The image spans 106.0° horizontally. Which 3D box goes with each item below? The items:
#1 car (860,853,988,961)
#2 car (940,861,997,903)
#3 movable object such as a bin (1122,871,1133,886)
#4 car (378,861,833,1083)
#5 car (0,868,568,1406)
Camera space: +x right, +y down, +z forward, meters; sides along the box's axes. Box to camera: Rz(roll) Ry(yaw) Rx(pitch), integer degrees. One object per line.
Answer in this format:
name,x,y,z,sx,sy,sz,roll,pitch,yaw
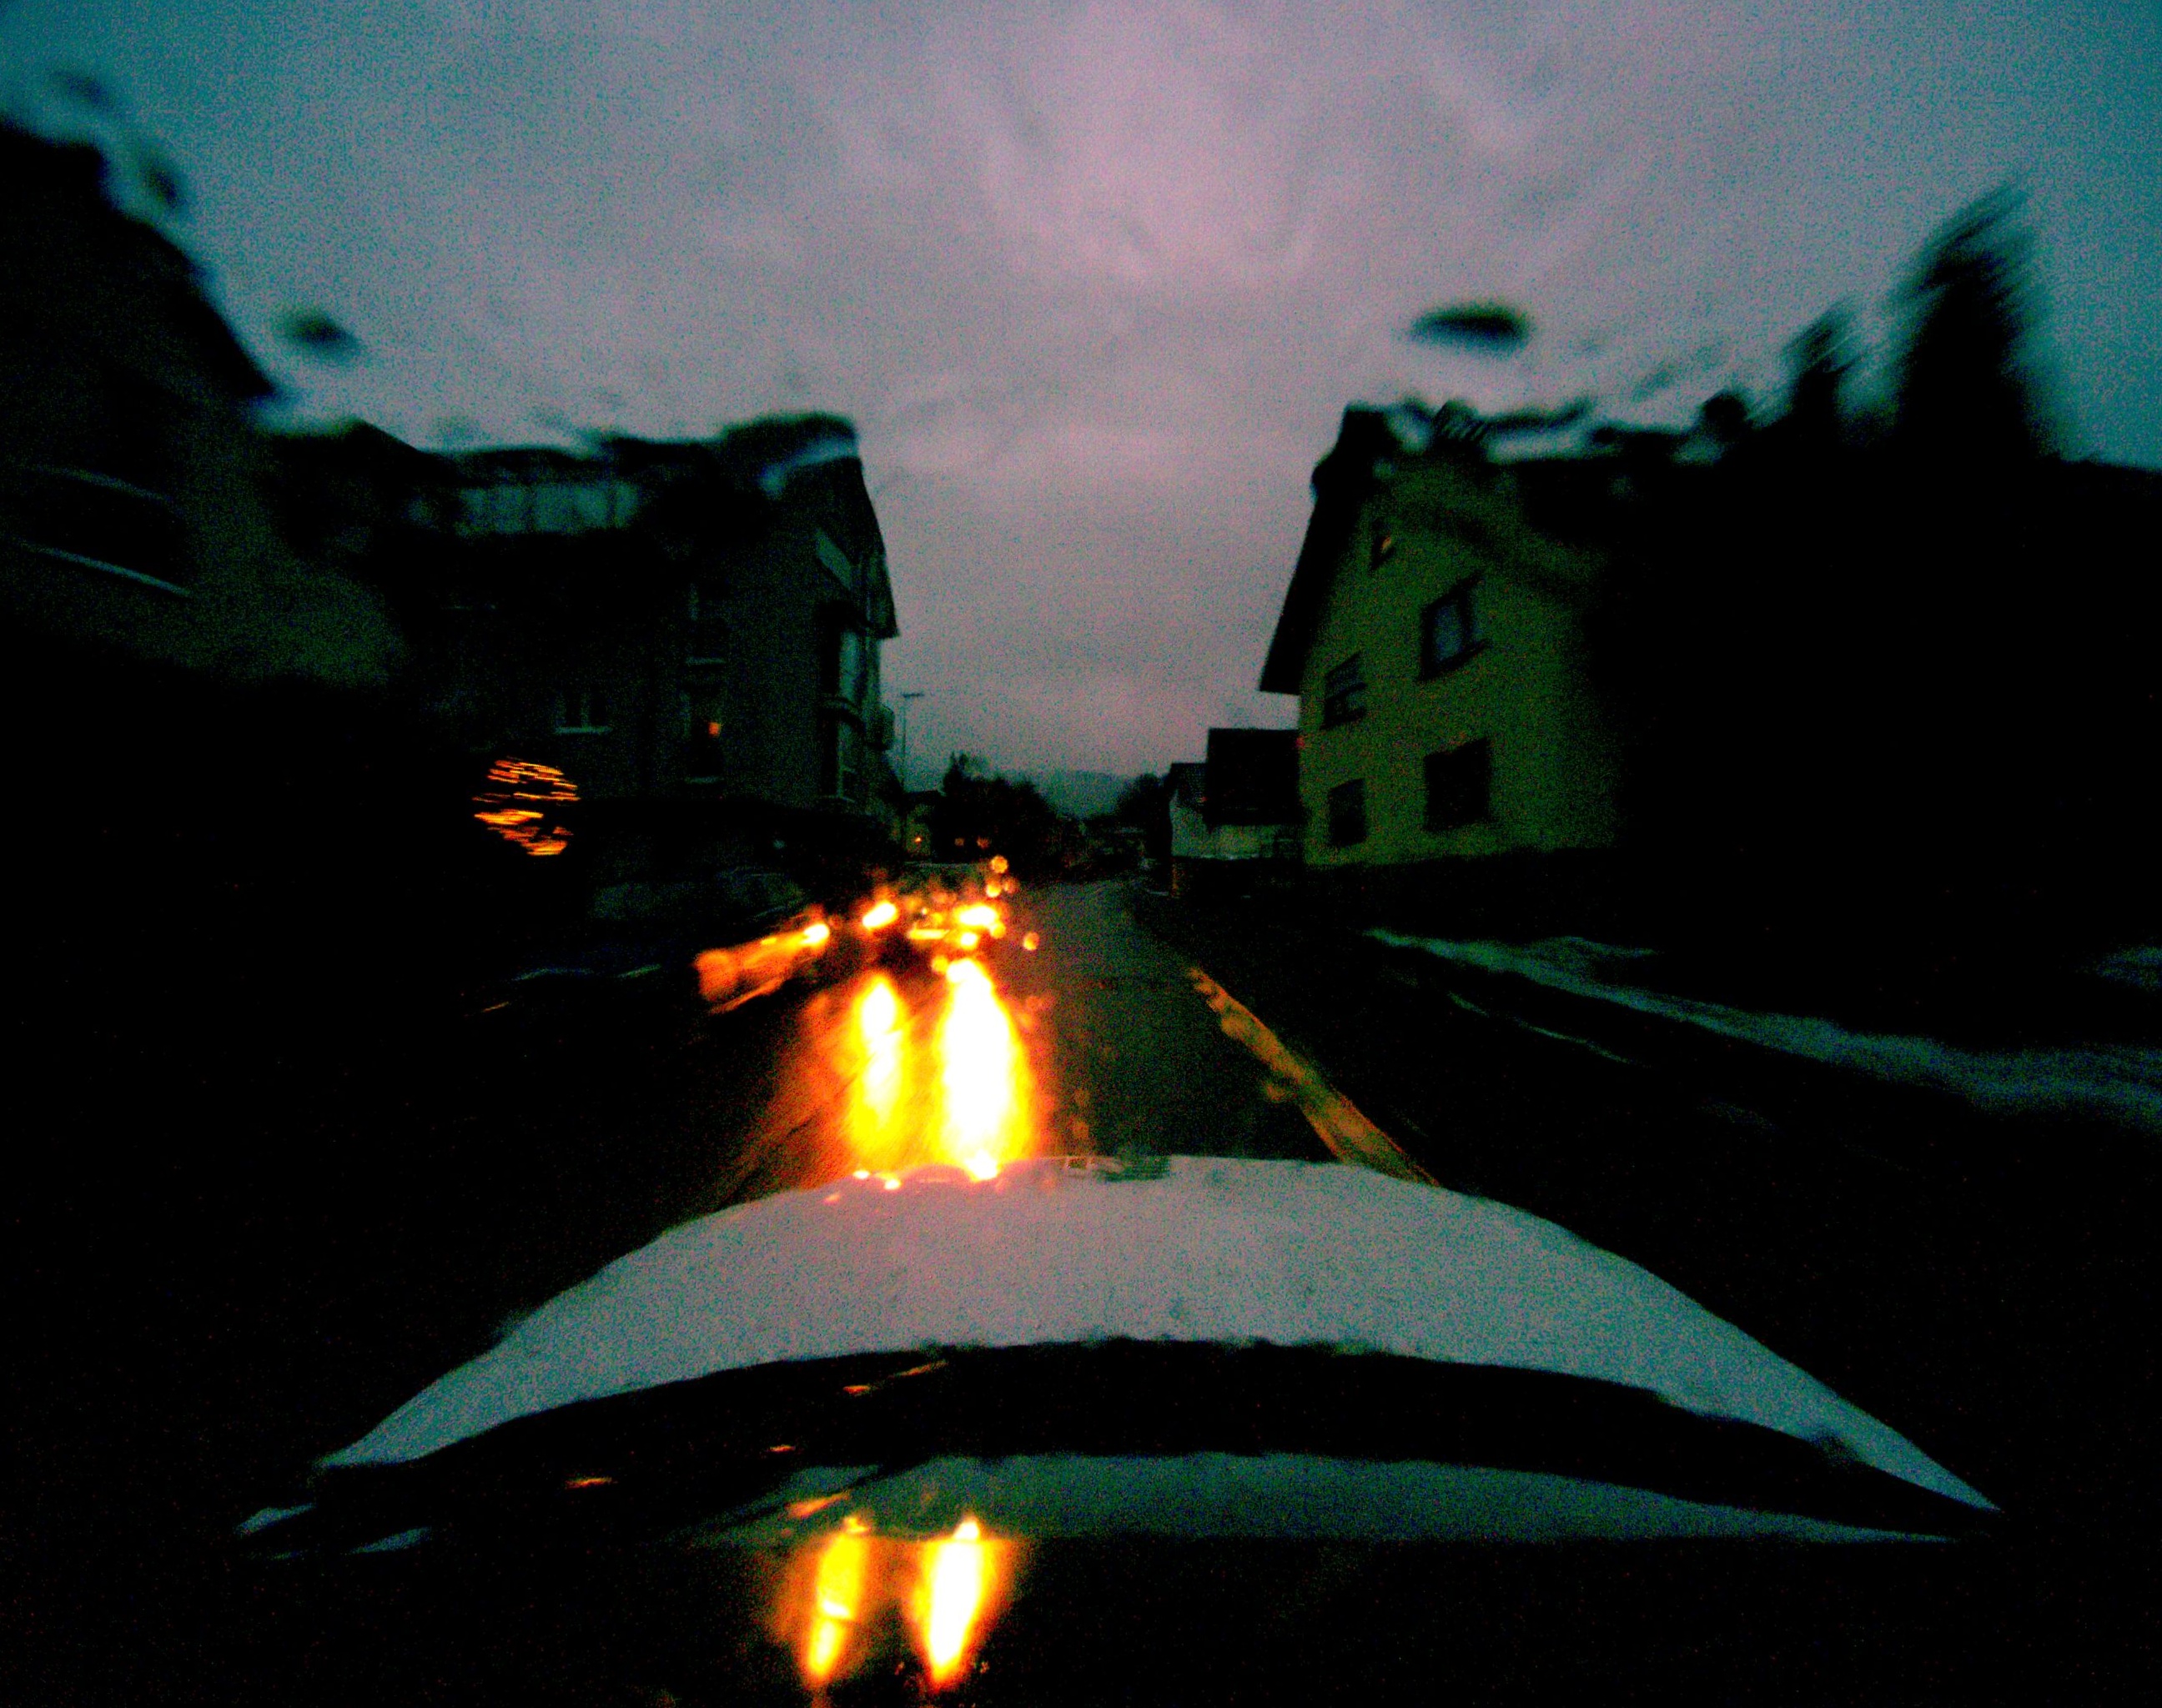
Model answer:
car,-2.507,0.769,13.906,1.771,1.495,4.370,-1,0,-7
car,-4.064,0.970,29.915,1.663,1.410,3.911,0,0,-1
movable object such as a bin,3.070,1.605,53.517,0.611,0.946,0.596,-4,-3,6
car,-3.860,0.803,7.685,1.729,1.444,4.437,-1,0,-1
car,-3.841,0.814,2.708,1.729,1.436,4.032,-1,0,-1
